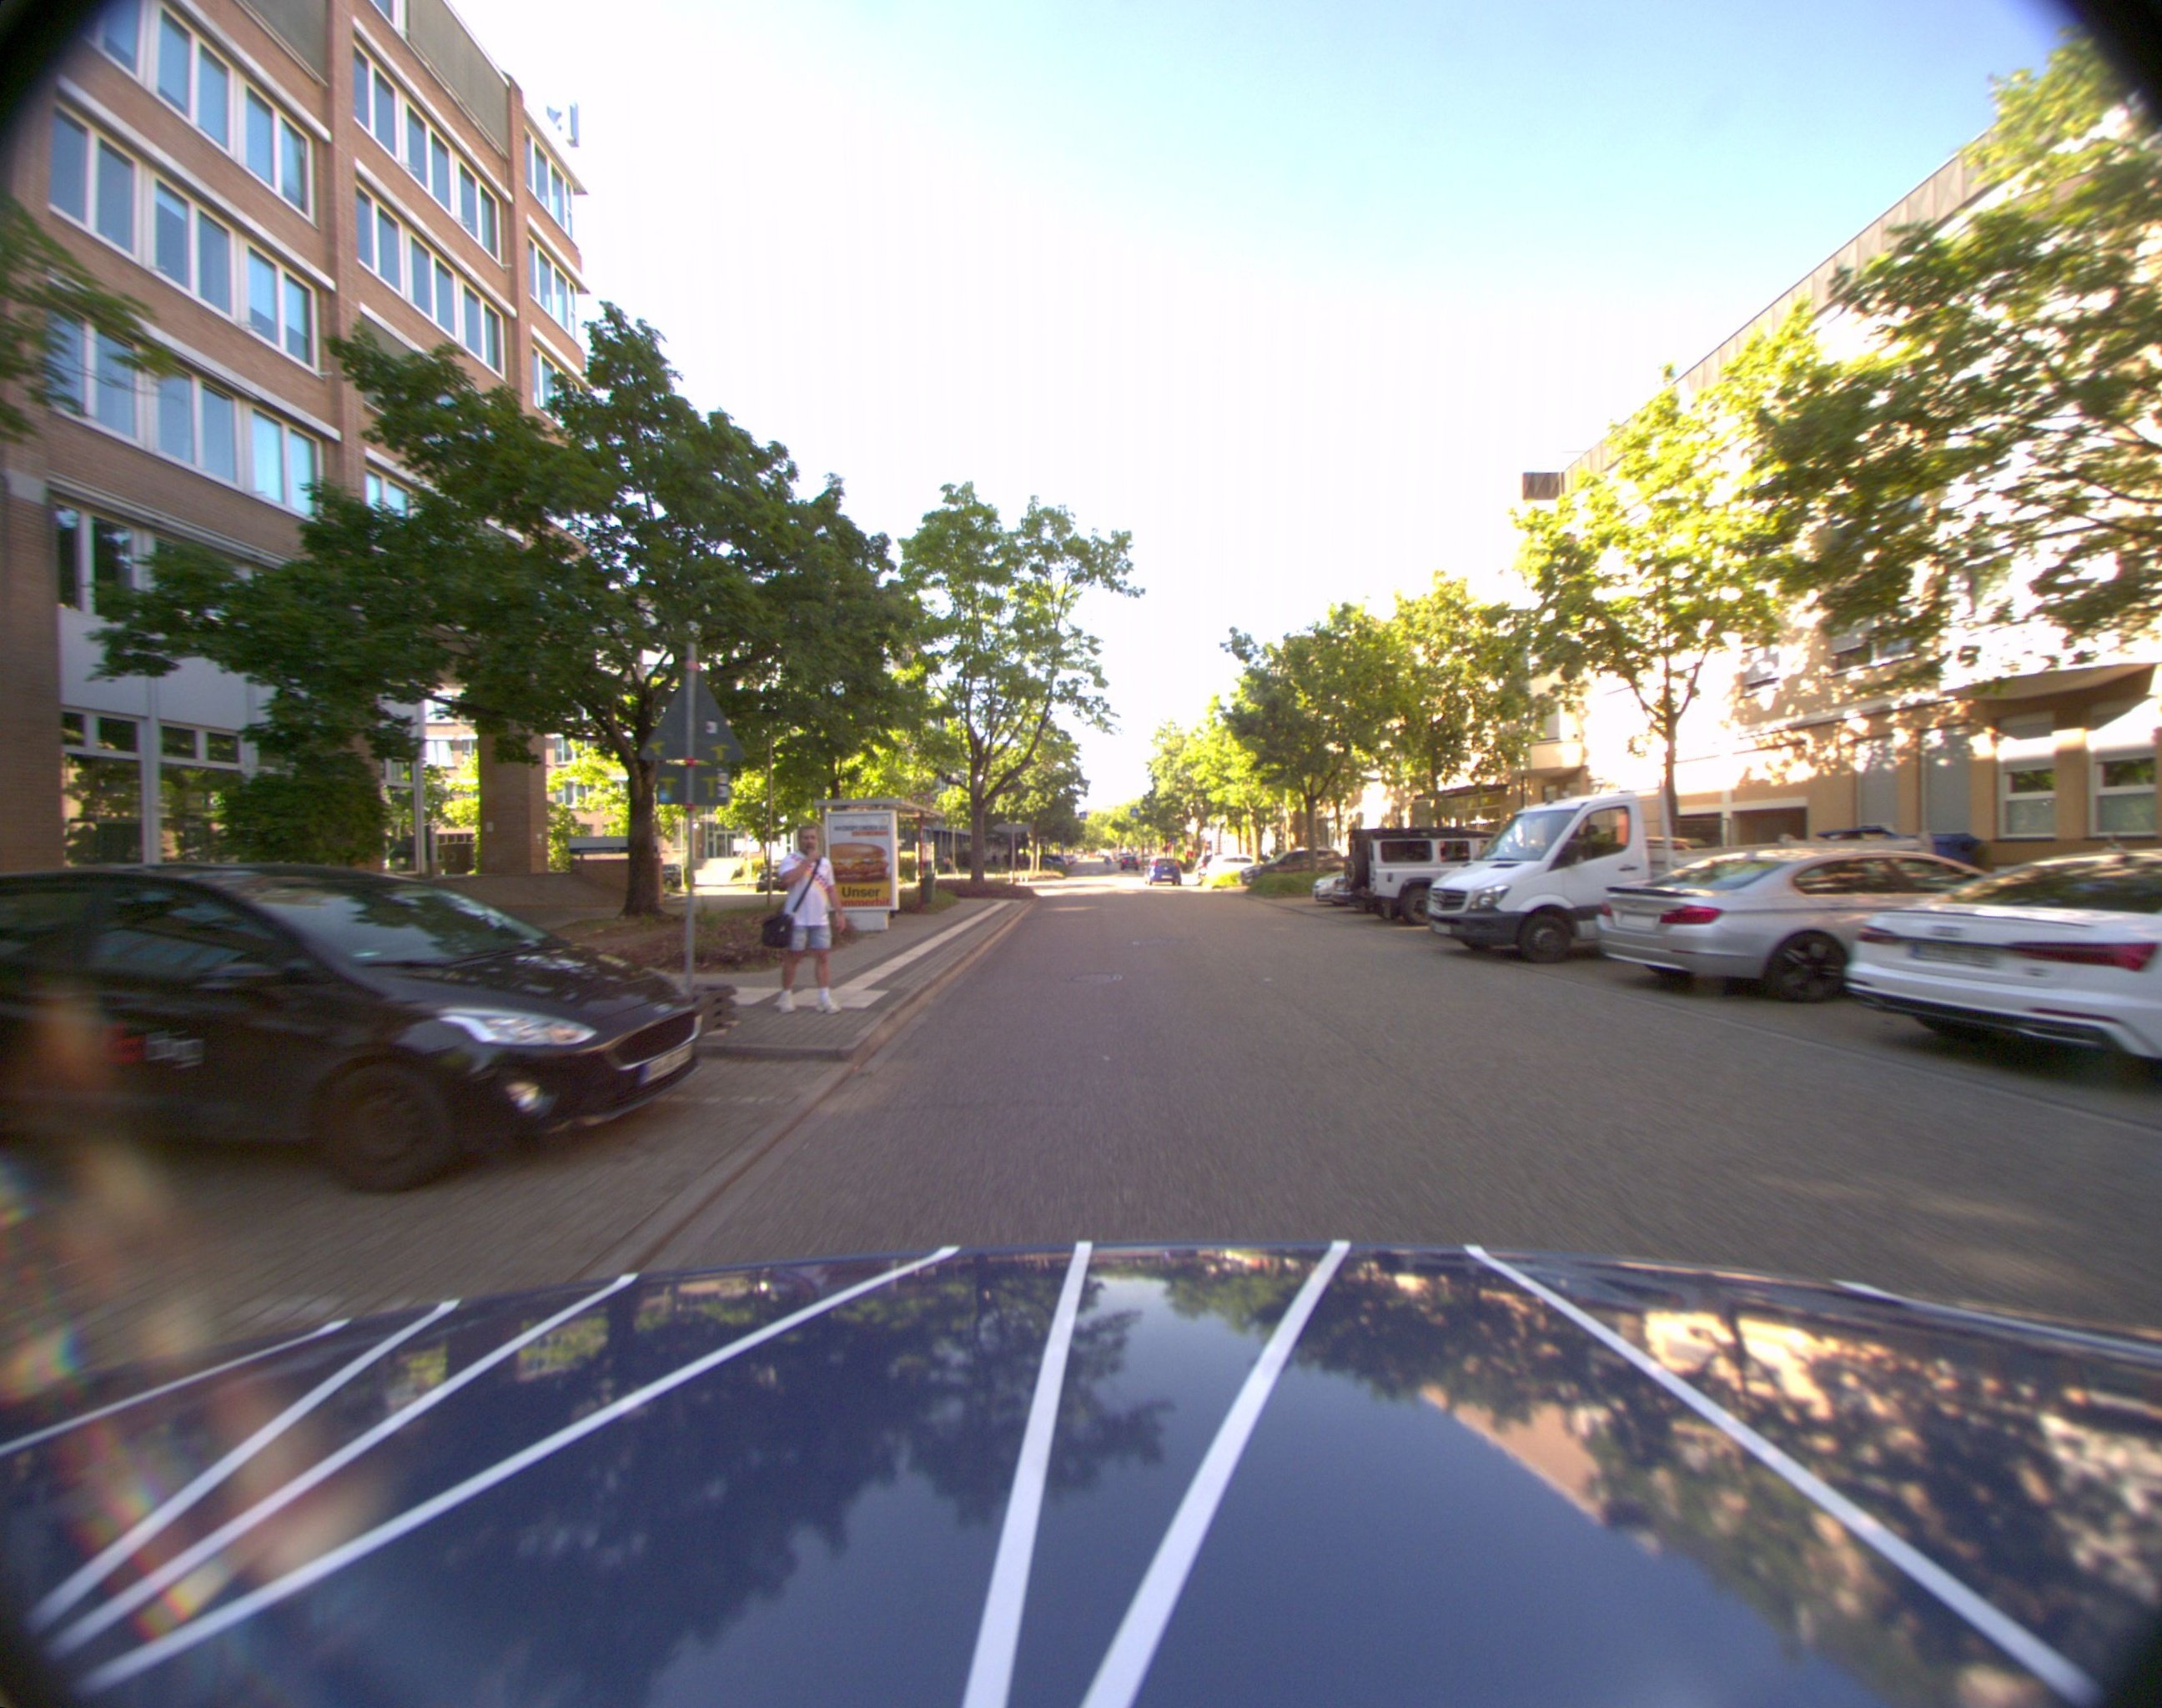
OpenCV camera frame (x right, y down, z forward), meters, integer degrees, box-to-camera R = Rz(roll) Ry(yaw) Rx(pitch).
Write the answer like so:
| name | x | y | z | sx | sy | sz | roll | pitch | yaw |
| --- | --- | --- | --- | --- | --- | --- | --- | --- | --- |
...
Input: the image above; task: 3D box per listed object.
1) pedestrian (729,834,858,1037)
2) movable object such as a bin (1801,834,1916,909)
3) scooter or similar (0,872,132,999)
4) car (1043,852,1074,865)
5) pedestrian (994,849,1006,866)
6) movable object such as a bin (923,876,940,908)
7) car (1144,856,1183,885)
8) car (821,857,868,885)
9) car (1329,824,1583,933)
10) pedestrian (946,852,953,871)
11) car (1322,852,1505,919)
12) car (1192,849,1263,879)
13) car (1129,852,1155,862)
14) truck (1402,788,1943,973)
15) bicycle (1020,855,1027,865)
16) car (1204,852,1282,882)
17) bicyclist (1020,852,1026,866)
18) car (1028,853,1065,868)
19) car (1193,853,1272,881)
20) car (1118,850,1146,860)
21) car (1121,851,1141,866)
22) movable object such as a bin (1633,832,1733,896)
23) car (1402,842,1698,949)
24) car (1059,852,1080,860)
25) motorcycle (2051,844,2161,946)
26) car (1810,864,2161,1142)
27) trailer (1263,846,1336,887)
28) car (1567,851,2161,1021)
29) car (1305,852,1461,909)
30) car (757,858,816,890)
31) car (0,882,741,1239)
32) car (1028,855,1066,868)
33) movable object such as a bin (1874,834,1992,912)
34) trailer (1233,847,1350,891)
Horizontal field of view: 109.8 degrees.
| name | x | y | z | sx | sy | sz | roll | pitch | yaw |
| --- | --- | --- | --- | --- | --- | --- | --- | --- | --- |
| pedestrian | -2.536 | 0.703 | 6.805 | 0.921 | 1.701 | 0.697 | 2 | 0 | -13 |
| movable object such as a bin | 17.604 | 0.371 | 17.252 | 1.149 | 1.610 | 1.440 | -1 | 0 | -12 |
| scooter or similar | -11.858 | 0.897 | 8.374 | 0.550 | 1.318 | 1.805 | -2 | 1 | -5 |
| car | -3.031 | 0.553 | 101.505 | 4.136 | 1.657 | 1.907 | -1 | 0 | -4 |
| pedestrian | -8.620 | 0.380 | 81.035 | 1.037 | 1.788 | 1.018 | -2 | 1 | 0 |
| movable object such as a bin | -3.707 | 0.935 | 18.871 | 0.299 | 0.749 | 0.467 | 1 | 1 | 1 |
| car | 4.240 | 0.799 | 39.563 | 1.648 | 1.412 | 4.000 | -1 | 0 | 0 |
| car | -15.384 | 1.058 | 49.661 | 1.742 | 1.557 | 4.363 | -2 | 2 | -2 |
| car | 7.998 | 0.500 | 16.527 | 4.493 | 2.040 | 1.999 | -2 | 1 | -1 |
| pedestrian | -10.826 | 0.637 | 62.697 | 0.539 | 1.573 | 0.648 | -1 | 0 | -9 |
| car | 8.319 | 0.761 | 19.275 | 3.787 | 1.484 | 1.833 | -2 | 0 | 2 |
| car | 8.918 | 0.599 | 46.472 | 3.997 | 1.561 | 1.728 | -3 | 0 | 0 |
| car | 9.669 | 0.444 | 121.263 | 4.003 | 1.411 | 1.618 | -2 | 0 | 0 |
| truck | 8.322 | 0.357 | 11.216 | 6.247 | 2.408 | 2.187 | -1 | 0 | 1 |
| bicycle | -6.456 | 0.707 | 85.037 | 0.535 | 1.072 | 1.920 | -1 | 0 | 2 |
| car | 8.713 | 0.690 | 40.983 | 3.764 | 1.444 | 1.754 | -3 | 0 | 0 |
| bicyclist | -6.458 | 0.553 | 85.076 | 0.538 | 1.627 | 0.822 | -1 | 0 | 1 |
| car | -4.017 | 0.735 | 87.956 | 4.136 | 1.581 | 1.659 | 1 | 2 | -4 |
| car | 8.730 | 0.727 | 43.918 | 4.162 | 1.394 | 1.801 | -3 | 0 | 0 |
| car | 9.664 | 0.141 | 143.909 | 5.317 | 1.875 | 2.000 | 0 | 0 | 2 |
| car | 5.137 | 0.430 | 78.108 | 1.784 | 1.503 | 4.000 | -1 | 0 | 1 |
| movable object such as a bin | 17.529 | 0.274 | 22.198 | 1.602 | 1.786 | 1.664 | -1 | 0 | 2 |
| car | 8.344 | 0.701 | 13.837 | 4.117 | 1.652 | 2.000 | -2 | 1 | 1 |
| car | -2.258 | 0.364 | 146.043 | 3.998 | 1.471 | 1.804 | 0 | 0 | -2 |
| motorcycle | 17.260 | 0.640 | 12.169 | 0.716 | 1.582 | 2.109 | 0 | 0 | -1 |
| car | 8.196 | 0.808 | 5.225 | 4.553 | 1.433 | 1.890 | -2 | -1 | -1 |
| trailer | 9.704 | 0.533 | 33.946 | 2.732 | 1.677 | 1.712 | -2 | 0 | 1 |
| car | 8.131 | 0.782 | 8.239 | 4.438 | 1.478 | 2.000 | -2 | 0 | -1 |
| car | 8.683 | 0.754 | 22.116 | 3.843 | 1.452 | 1.733 | -2 | 0 | 4 |
| car | -14.309 | 0.954 | 37.113 | 1.657 | 1.453 | 3.915 | -1 | -1 | -6 |
| car | -4.229 | 0.921 | 4.121 | 3.944 | 1.431 | 1.774 | -1 | 0 | 0 |
| car | -3.722 | 0.832 | 83.174 | 4.127 | 1.362 | 1.654 | 1 | 0 | -3 |
| movable object such as a bin | 17.854 | 0.382 | 15.960 | 1.149 | 1.553 | 1.243 | -1 | 0 | -12 |
| trailer | 8.675 | 0.598 | 31.513 | 4.272 | 1.563 | 1.856 | -2 | 0 | -3 |
